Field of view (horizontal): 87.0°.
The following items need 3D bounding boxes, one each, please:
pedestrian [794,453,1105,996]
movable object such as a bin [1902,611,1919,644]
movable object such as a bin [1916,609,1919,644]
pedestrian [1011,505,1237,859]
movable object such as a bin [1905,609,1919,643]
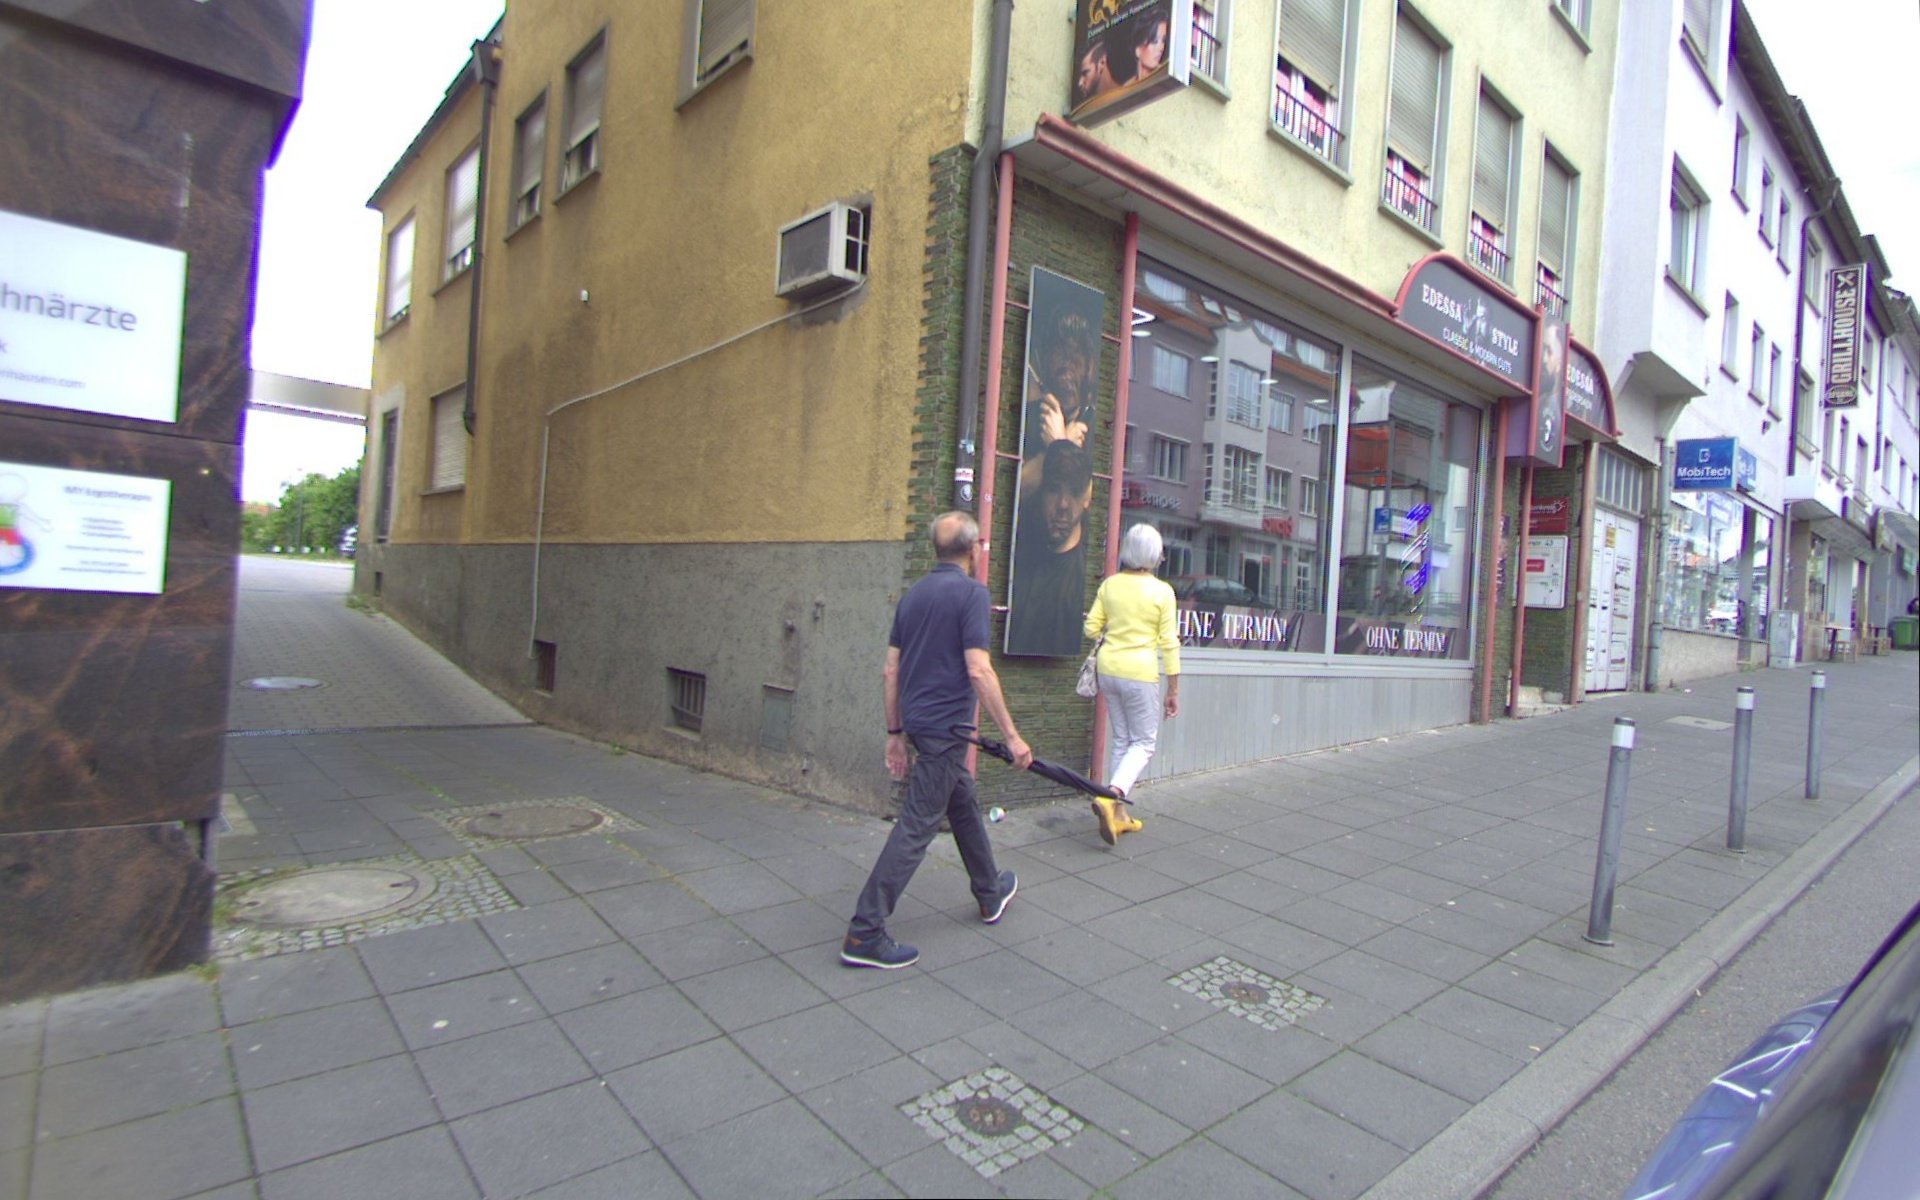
[{"bbox_3d":[-0.050,0.379,3.787,0.771,1.773,0.713,1,5,-41],"label":"pedestrian"},{"bbox_3d":[29.128,0.842,30.811,0.490,0.968,0.568,1,1,-41],"label":"movable object such as a bin"},{"bbox_3d":[30.265,0.842,31.499,0.661,1.094,0.652,1,1,-41],"label":"movable object such as a bin"},{"bbox_3d":[0.847,0.363,5.251,0.820,1.651,0.713,1,4,-41],"label":"pedestrian"},{"bbox_3d":[29.613,0.813,31.171,0.550,1.043,0.670,1,1,-41],"label":"movable object such as a bin"}]
